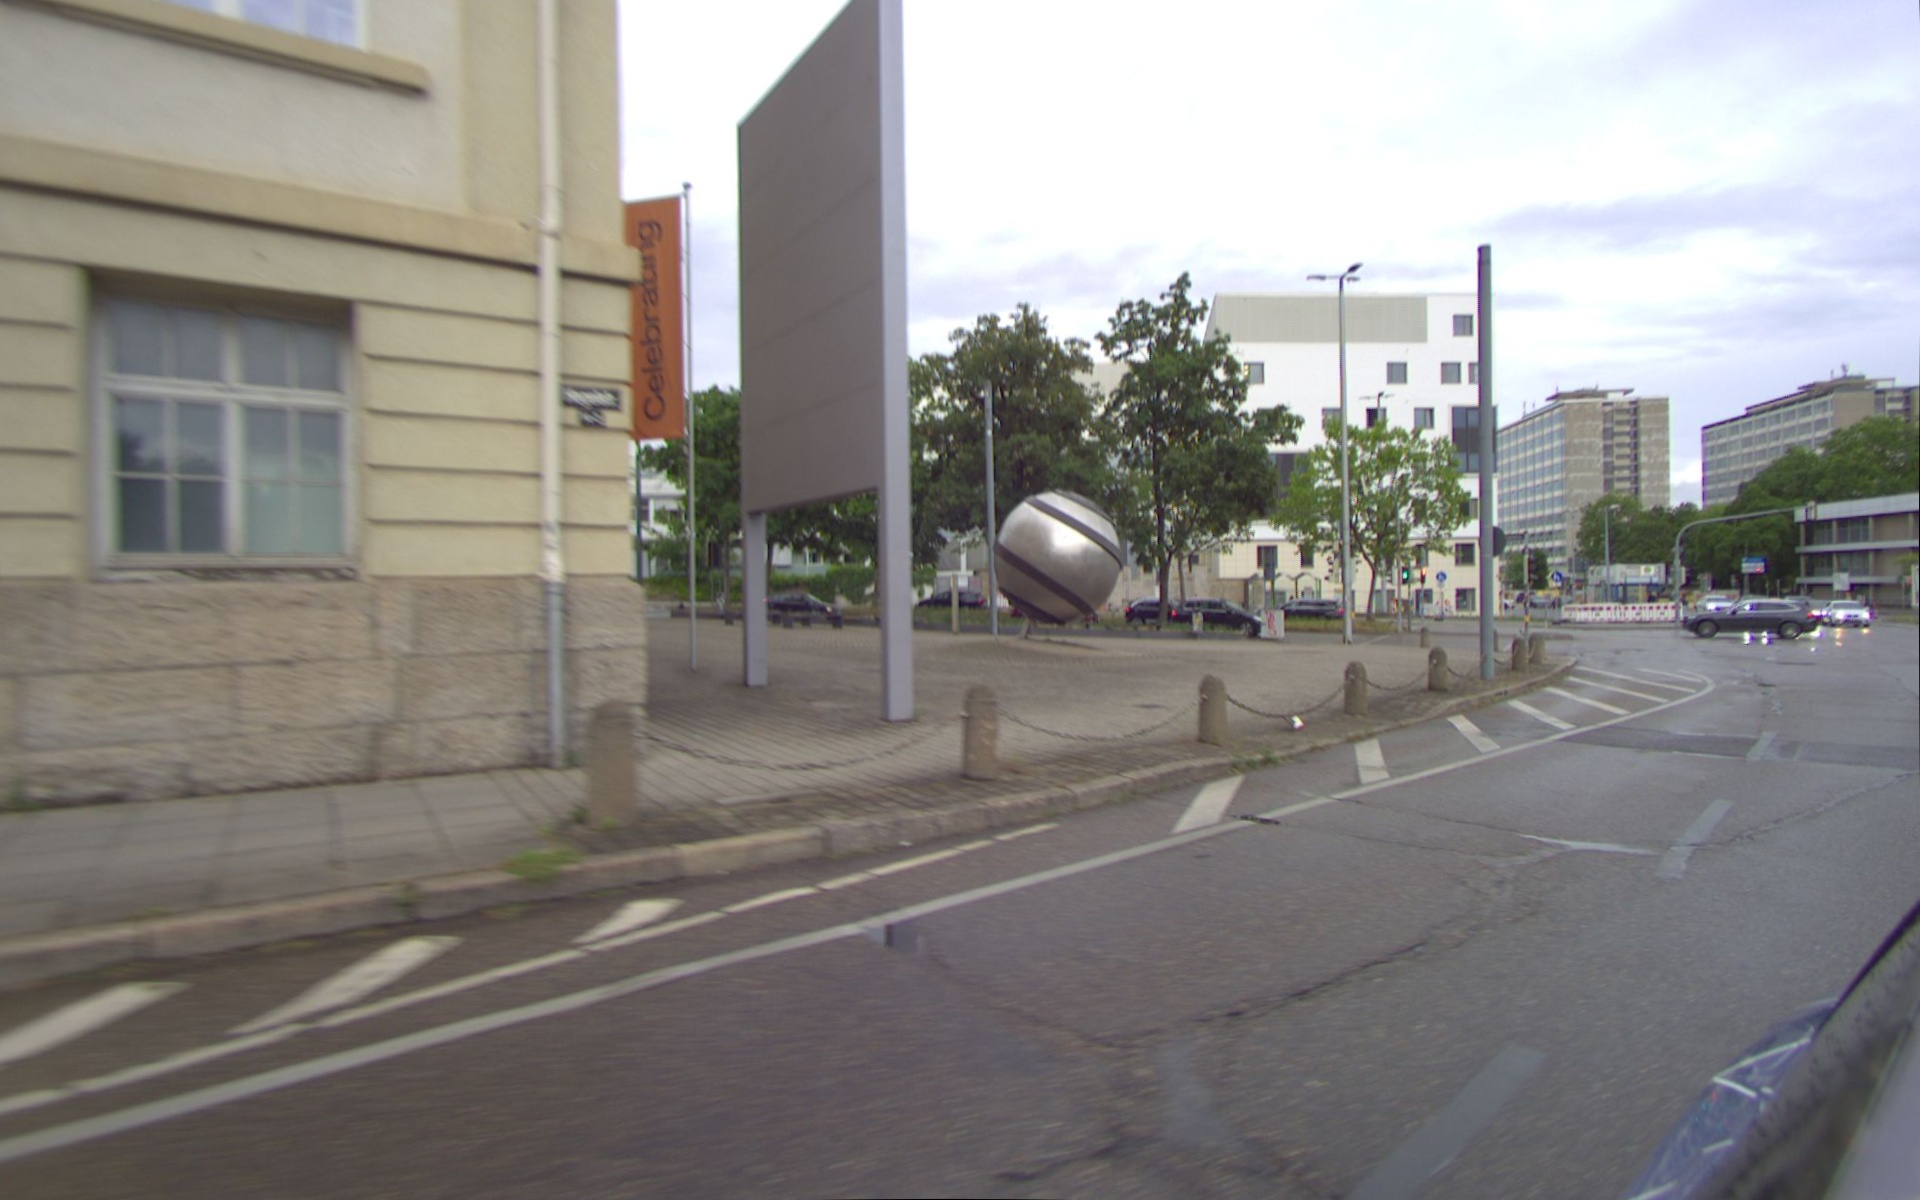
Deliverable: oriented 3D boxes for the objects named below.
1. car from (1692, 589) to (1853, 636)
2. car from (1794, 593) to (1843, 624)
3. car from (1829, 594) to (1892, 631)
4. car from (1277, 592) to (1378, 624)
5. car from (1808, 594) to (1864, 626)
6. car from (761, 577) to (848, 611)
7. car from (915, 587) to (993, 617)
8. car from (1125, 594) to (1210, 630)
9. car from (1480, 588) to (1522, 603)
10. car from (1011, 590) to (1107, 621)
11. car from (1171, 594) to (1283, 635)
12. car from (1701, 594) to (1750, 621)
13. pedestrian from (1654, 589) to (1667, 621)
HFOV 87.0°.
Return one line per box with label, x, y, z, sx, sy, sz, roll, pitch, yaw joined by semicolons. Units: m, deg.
car;35.091;0.500;43.946;5.257;1.824;2.024;1;0;34
car;57.378;0.560;67.709;2.064;1.935;4.505;1;0;35
car;50.277;0.681;56.593;2.064;1.935;4.505;1;0;35
car;19.390;0.394;53.423;4.793;1.552;2.077;1;0;28
car;53.460;0.608;61.839;2.064;1.850;4.505;1;0;35
car;-8.093;-0.312;52.586;4.111;1.617;1.826;2;0;22
car;-0.371;0.100;62.060;4.395;1.735;2.068;1;0;15
car;9.970;0.544;48.658;3.704;1.602;1.743;2;1;27
car;63.777;-0.531;119.366;1.807;1.725;3.997;1;0;-38
car;5.029;0.257;51.376;4.560;1.384;1.766;2;1;23
car;11.754;0.604;44.595;4.446;1.618;1.968;2;1;27
car;58.211;0.554;77.036;2.056;1.935;4.523;1;0;25
pedestrian;44.184;0.301;63.843;0.638;2.039;0.588;0;0;32
